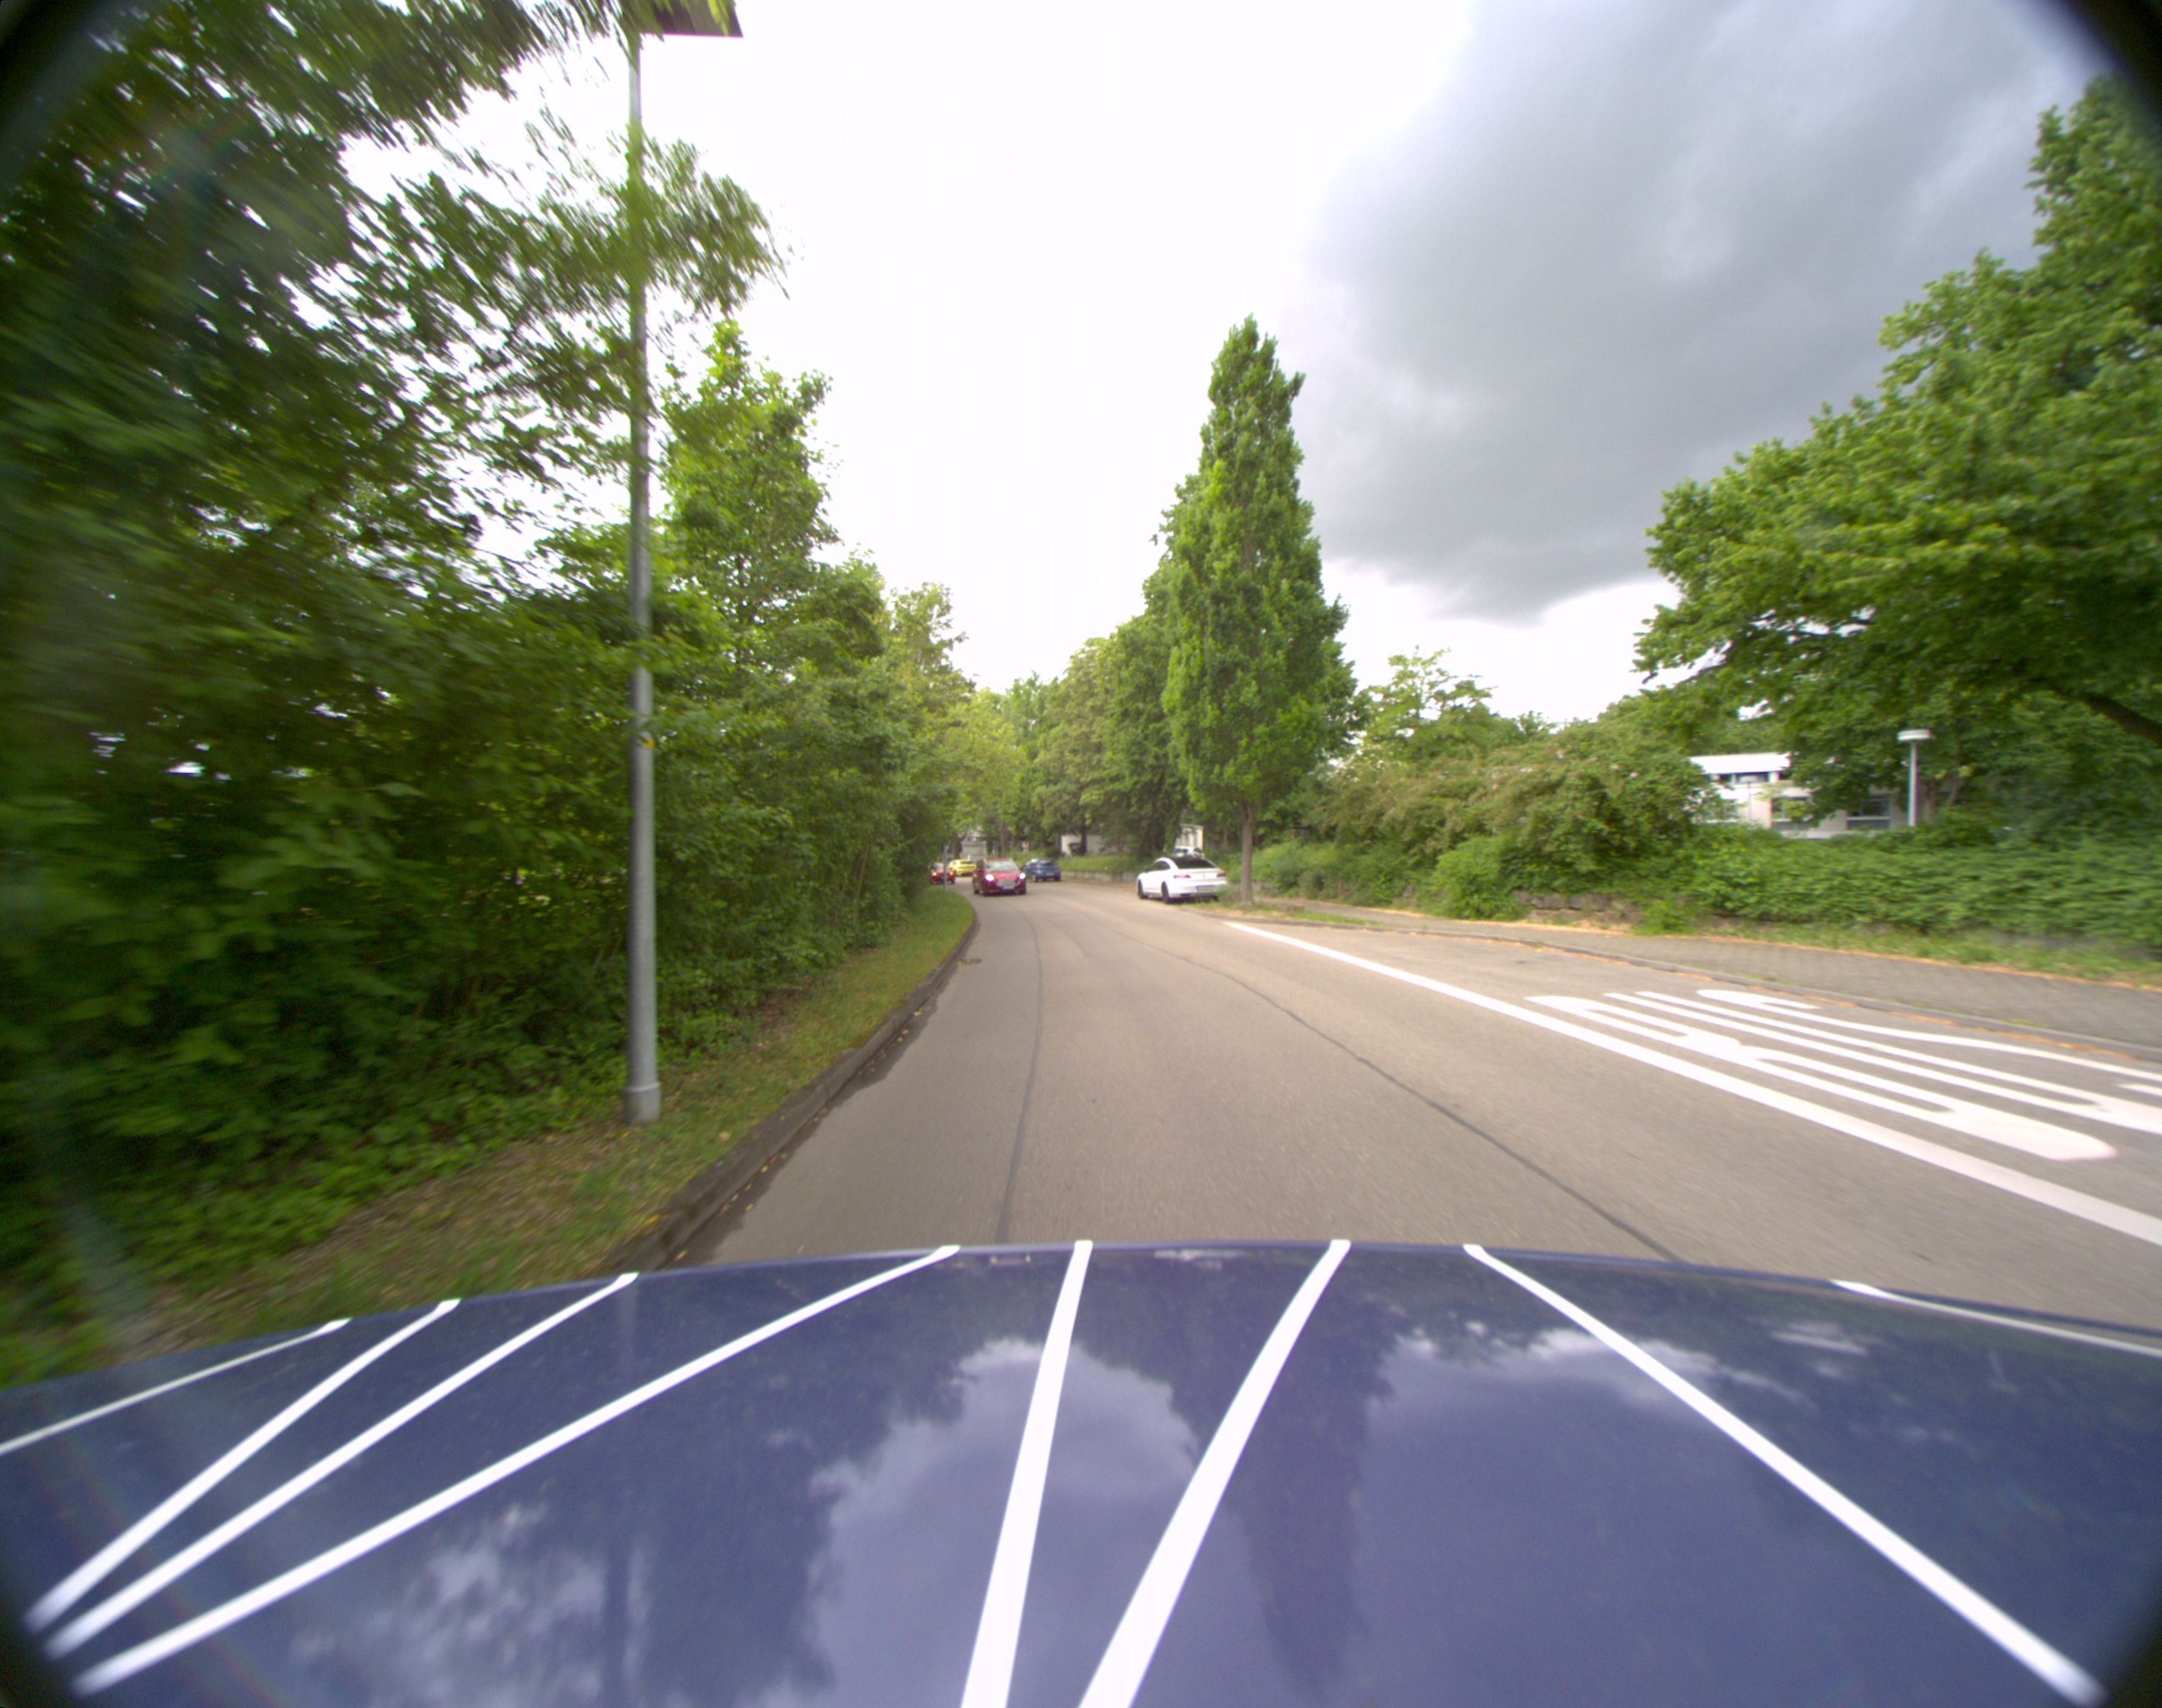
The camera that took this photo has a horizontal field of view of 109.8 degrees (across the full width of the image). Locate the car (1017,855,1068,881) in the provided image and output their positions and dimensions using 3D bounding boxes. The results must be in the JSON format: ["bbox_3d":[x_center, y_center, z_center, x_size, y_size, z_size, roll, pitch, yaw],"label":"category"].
[{"bbox_3d":[-2.427,0.842,46.757,1.856,1.483,3.992,-2,0,-23],"label":"car"}]

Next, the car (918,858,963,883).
[{"bbox_3d":[-9.506,1.087,51.124,1.951,1.522,4.078,-3,1,-24],"label":"car"}]

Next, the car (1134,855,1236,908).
[{"bbox_3d":[3.196,0.795,24.341,1.854,1.483,4.631,-2,0,-10],"label":"car"}]

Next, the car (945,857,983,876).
[{"bbox_3d":[-9.710,0.994,62.972,1.856,1.483,3.991,-2,0,-29],"label":"car"}]

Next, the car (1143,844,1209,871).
[{"bbox_3d":[6.317,0.221,50.520,3.801,1.629,2.003,-2,2,33],"label":"car"}]

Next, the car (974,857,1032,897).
[{"bbox_3d":[-3.592,0.992,34.369,1.947,1.550,4.350,-2,1,-14],"label":"car"}]
